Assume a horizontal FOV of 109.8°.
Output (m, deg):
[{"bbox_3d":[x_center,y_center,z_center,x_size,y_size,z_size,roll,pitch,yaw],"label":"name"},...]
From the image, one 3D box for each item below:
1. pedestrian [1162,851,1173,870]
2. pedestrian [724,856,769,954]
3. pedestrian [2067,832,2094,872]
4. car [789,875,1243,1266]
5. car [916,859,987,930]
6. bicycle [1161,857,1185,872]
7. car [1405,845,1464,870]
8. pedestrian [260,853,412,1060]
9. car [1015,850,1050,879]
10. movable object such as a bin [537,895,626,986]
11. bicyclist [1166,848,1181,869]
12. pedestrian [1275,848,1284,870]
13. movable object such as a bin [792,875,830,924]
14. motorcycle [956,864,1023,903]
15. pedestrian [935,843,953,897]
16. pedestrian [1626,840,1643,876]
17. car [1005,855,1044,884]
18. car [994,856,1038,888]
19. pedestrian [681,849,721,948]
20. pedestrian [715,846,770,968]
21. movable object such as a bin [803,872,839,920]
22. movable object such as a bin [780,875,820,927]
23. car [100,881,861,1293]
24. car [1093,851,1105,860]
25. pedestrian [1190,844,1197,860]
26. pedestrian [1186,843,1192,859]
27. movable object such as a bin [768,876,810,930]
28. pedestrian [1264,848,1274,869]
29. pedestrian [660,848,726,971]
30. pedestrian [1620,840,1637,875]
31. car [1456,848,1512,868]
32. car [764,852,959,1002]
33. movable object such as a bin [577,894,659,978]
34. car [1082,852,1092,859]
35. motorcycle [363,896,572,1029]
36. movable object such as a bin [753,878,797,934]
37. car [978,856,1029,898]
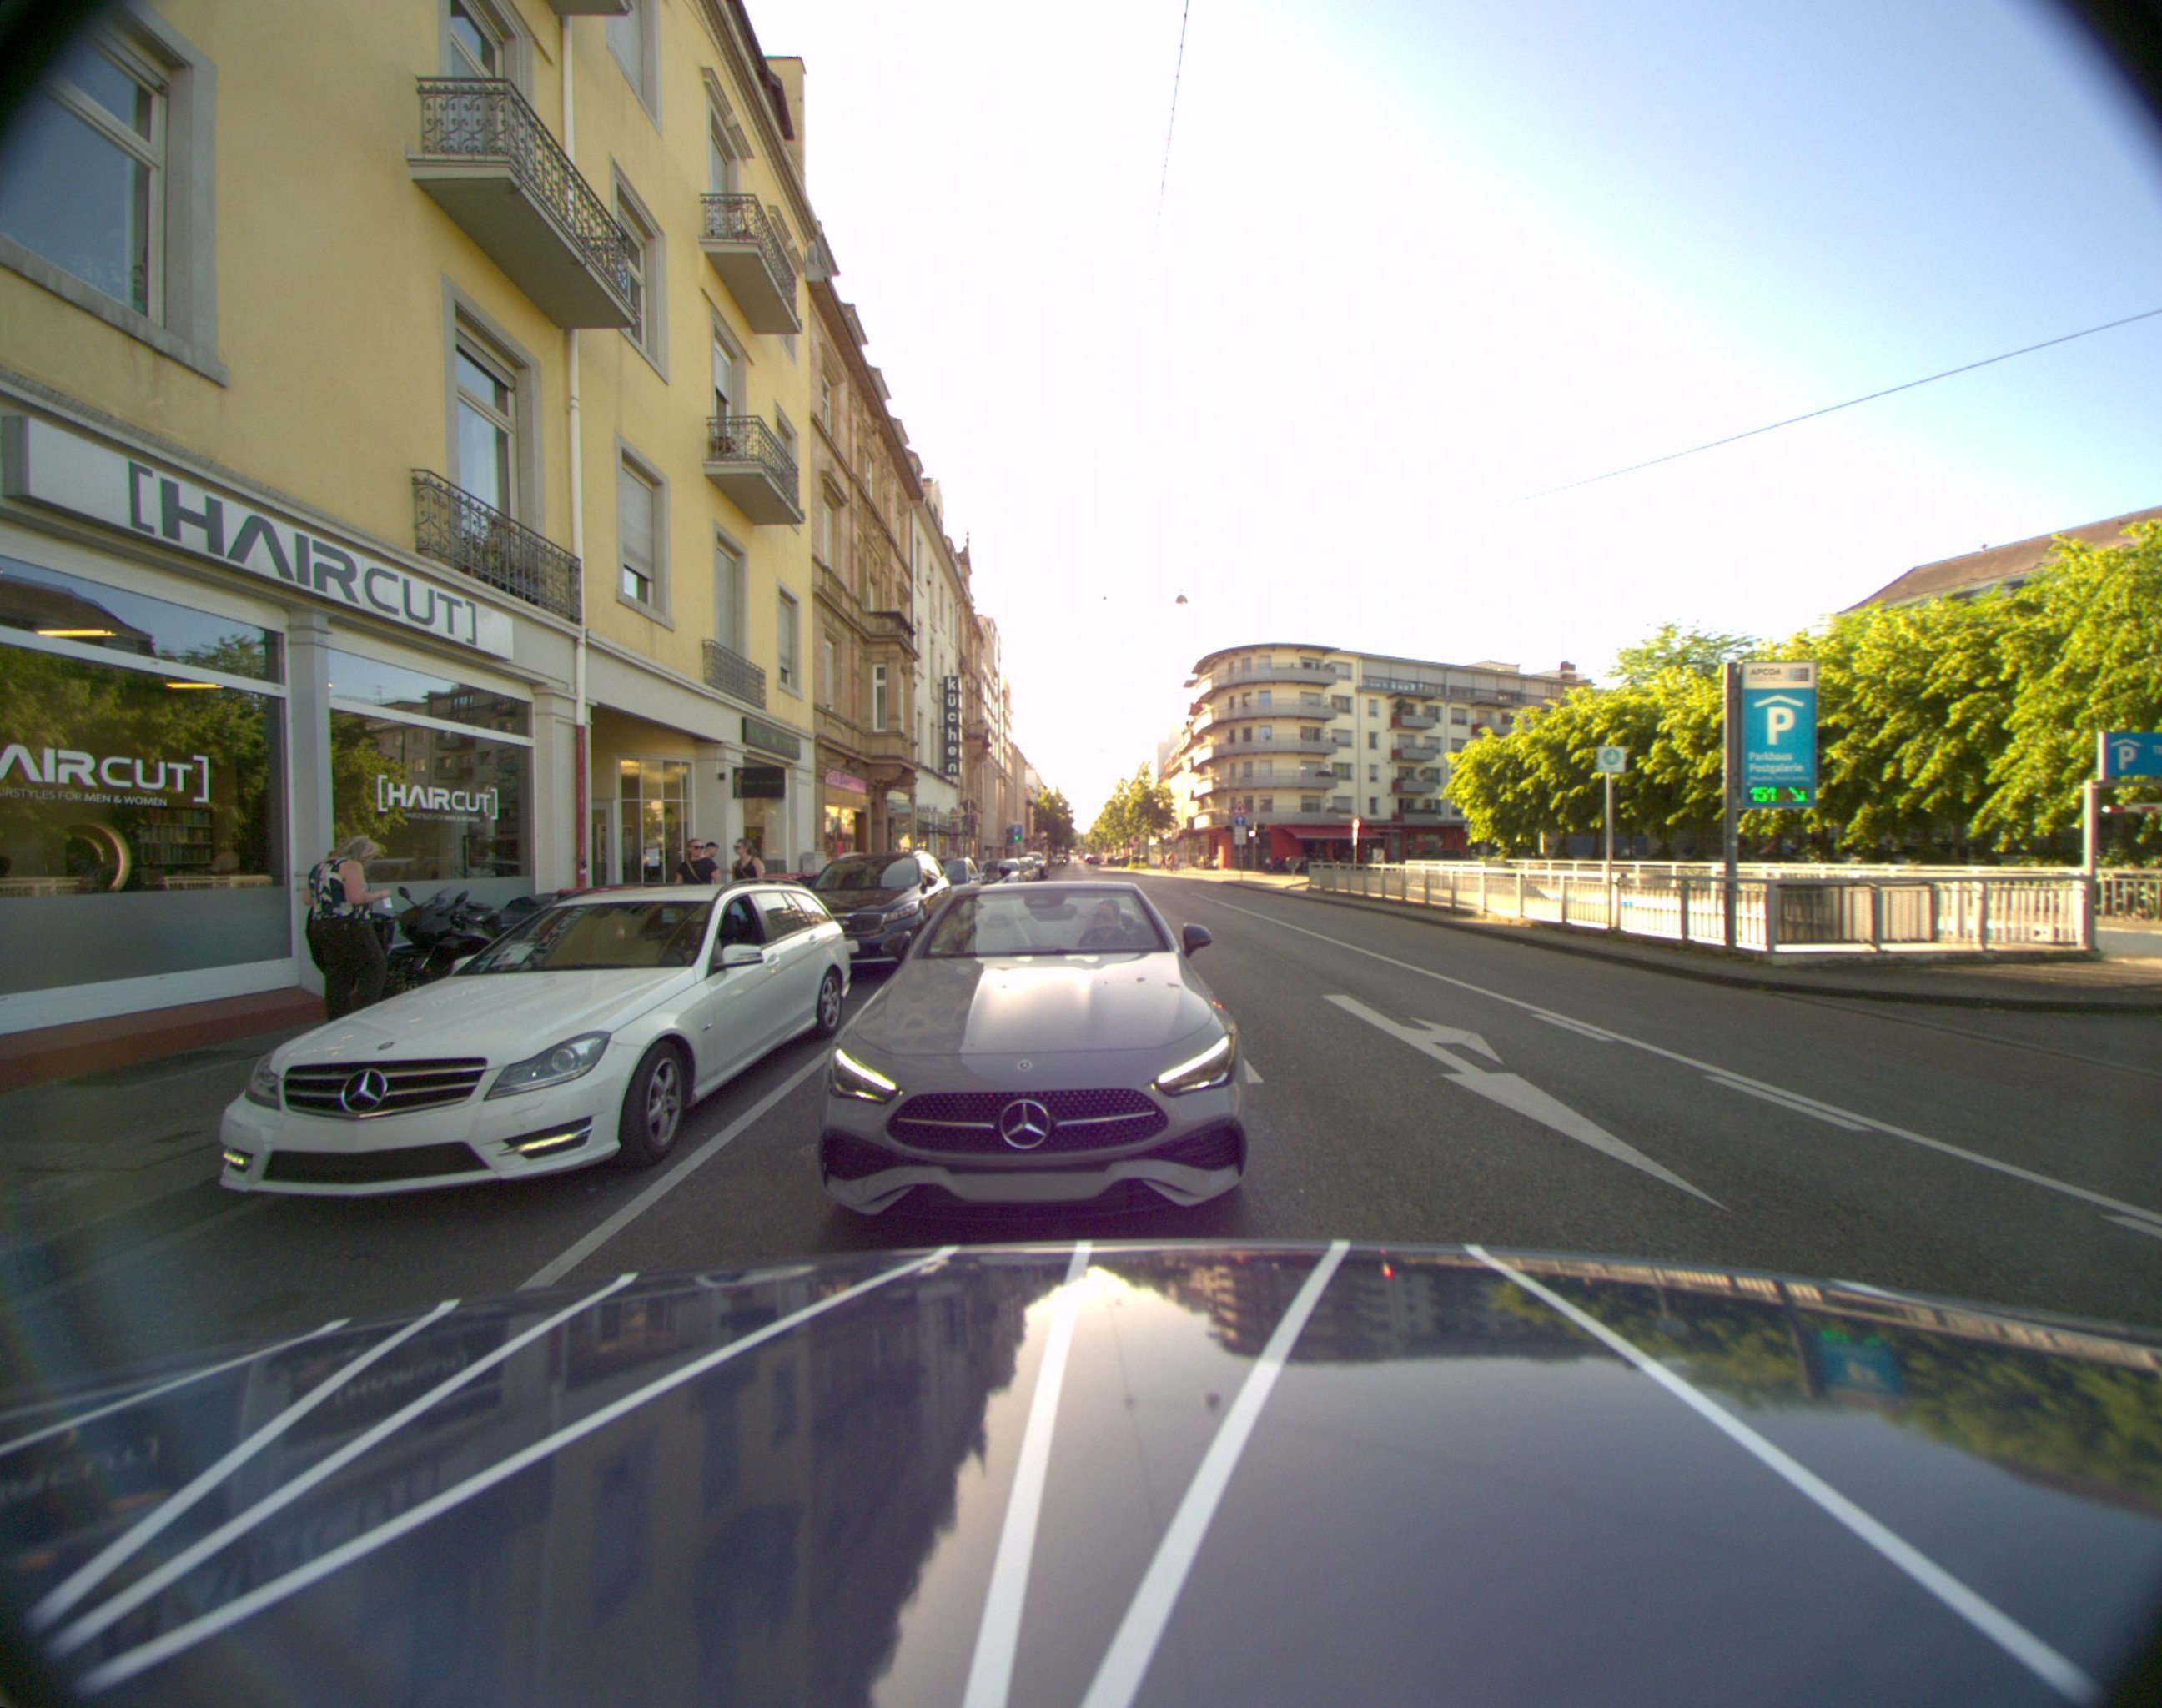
[{"bbox_3d":[7.501,0.573,65.906,0.774,1.606,0.696,-1,1,-3],"label":"pedestrian"},{"bbox_3d":[-5.789,0.859,13.153,0.450,1.651,0.594,1,1,43],"label":"pedestrian"},{"bbox_3d":[45.185,-0.075,34.342,0.602,1.782,0.581,-2,1,-20],"label":"pedestrian"},{"bbox_3d":[-0.259,0.960,5.335,1.848,1.440,4.373,-1,0,0],"label":"car"},{"bbox_3d":[-3.004,0.898,18.035,1.275,1.509,2.794,-1,0,-2],"label":"car"},{"bbox_3d":[7.310,0.835,60.256,0.715,1.205,1.868,-2,1,-38],"label":"bicycle"},{"bbox_3d":[29.043,0.254,62.423,4.432,1.901,1.951,-2,1,-24],"label":"car"},{"bbox_3d":[-6.081,0.806,6.229,0.698,1.623,0.532,0,1,-2],"label":"pedestrian"},{"bbox_3d":[-3.005,0.636,47.723,1.895,1.680,4.049,-1,0,0],"label":"car"},{"bbox_3d":[-6.167,1.047,9.407,0.661,1.035,0.619,2,1,3],"label":"movable object such as a bin"},{"bbox_3d":[7.326,0.349,60.213,0.715,1.605,0.973,-3,1,-39],"label":"bicyclist"},{"bbox_3d":[15.523,0.352,59.401,0.575,1.698,0.642,-1,1,3],"label":"pedestrian"},{"bbox_3d":[-6.066,1.011,17.089,0.606,1.060,0.619,2,1,0],"label":"movable object such as a bin"},{"bbox_3d":[-3.174,1.005,26.570,2.178,1.272,0.866,-2,1,-42],"label":"motorcycle"},{"bbox_3d":[-4.536,0.532,25.092,0.434,1.752,0.481,-2,1,1],"label":"pedestrian"},{"bbox_3d":[27.713,0.205,38.050,0.602,1.782,0.581,-3,2,-45],"label":"pedestrian"},{"bbox_3d":[-2.999,0.812,41.094,1.737,1.409,3.802,-1,0,0],"label":"car"},{"bbox_3d":[-3.076,0.846,36.802,1.737,1.409,3.802,-1,0,0],"label":"car"},{"bbox_3d":[-6.514,0.742,13.024,0.337,1.651,0.525,1,1,42],"label":"pedestrian"},{"bbox_3d":[-4.643,0.712,10.440,0.515,1.623,0.414,-1,1,-2],"label":"pedestrian"},{"bbox_3d":[-6.065,0.979,17.746,0.606,1.060,0.619,2,1,0],"label":"movable object such as a bin"},{"bbox_3d":[-6.077,1.005,16.455,0.606,1.060,0.619,2,1,0],"label":"movable object such as a bin"},{"bbox_3d":[-3.062,1.023,5.302,1.743,1.438,4.463,-1,0,0],"label":"car"},{"bbox_3d":[2.866,0.271,123.058,1.806,1.388,3.926,-1,0,0],"label":"car"},{"bbox_3d":[11.017,-0.194,74.412,0.570,1.612,0.793,-2,1,-3],"label":"pedestrian"},{"bbox_3d":[10.584,-0.304,74.516,0.376,1.521,0.516,-2,1,-3],"label":"pedestrian"},{"bbox_3d":[-6.088,1.013,15.841,0.606,1.060,0.619,2,1,0],"label":"movable object such as a bin"},{"bbox_3d":[14.747,0.350,59.623,0.575,1.698,0.642,-1,1,3],"label":"pedestrian"},{"bbox_3d":[-5.272,0.733,10.350,0.618,1.623,0.463,-1,1,-2],"label":"pedestrian"},{"bbox_3d":[27.916,0.191,38.761,0.602,1.782,0.581,-3,2,-45],"label":"pedestrian"},{"bbox_3d":[34.277,0.326,64.676,4.300,1.611,1.951,-2,1,-24],"label":"car"},{"bbox_3d":[-2.979,0.862,11.336,1.760,1.726,4.571,-1,0,-3],"label":"car"},{"bbox_3d":[-6.106,1.063,10.043,0.669,1.019,0.619,2,1,3],"label":"movable object such as a bin"},{"bbox_3d":[1.168,0.288,150.845,1.895,1.388,4.255,-1,0,-2],"label":"car"},{"bbox_3d":[-6.201,1.035,7.857,0.551,1.085,2.009,0,0,-1],"label":"motorcycle"},{"bbox_3d":[-6.111,1.020,15.194,0.606,1.060,0.619,2,1,0],"label":"movable object such as a bin"},{"bbox_3d":[-3.041,0.863,30.545,1.737,1.509,4.164,-1,0,-2],"label":"car"}]
